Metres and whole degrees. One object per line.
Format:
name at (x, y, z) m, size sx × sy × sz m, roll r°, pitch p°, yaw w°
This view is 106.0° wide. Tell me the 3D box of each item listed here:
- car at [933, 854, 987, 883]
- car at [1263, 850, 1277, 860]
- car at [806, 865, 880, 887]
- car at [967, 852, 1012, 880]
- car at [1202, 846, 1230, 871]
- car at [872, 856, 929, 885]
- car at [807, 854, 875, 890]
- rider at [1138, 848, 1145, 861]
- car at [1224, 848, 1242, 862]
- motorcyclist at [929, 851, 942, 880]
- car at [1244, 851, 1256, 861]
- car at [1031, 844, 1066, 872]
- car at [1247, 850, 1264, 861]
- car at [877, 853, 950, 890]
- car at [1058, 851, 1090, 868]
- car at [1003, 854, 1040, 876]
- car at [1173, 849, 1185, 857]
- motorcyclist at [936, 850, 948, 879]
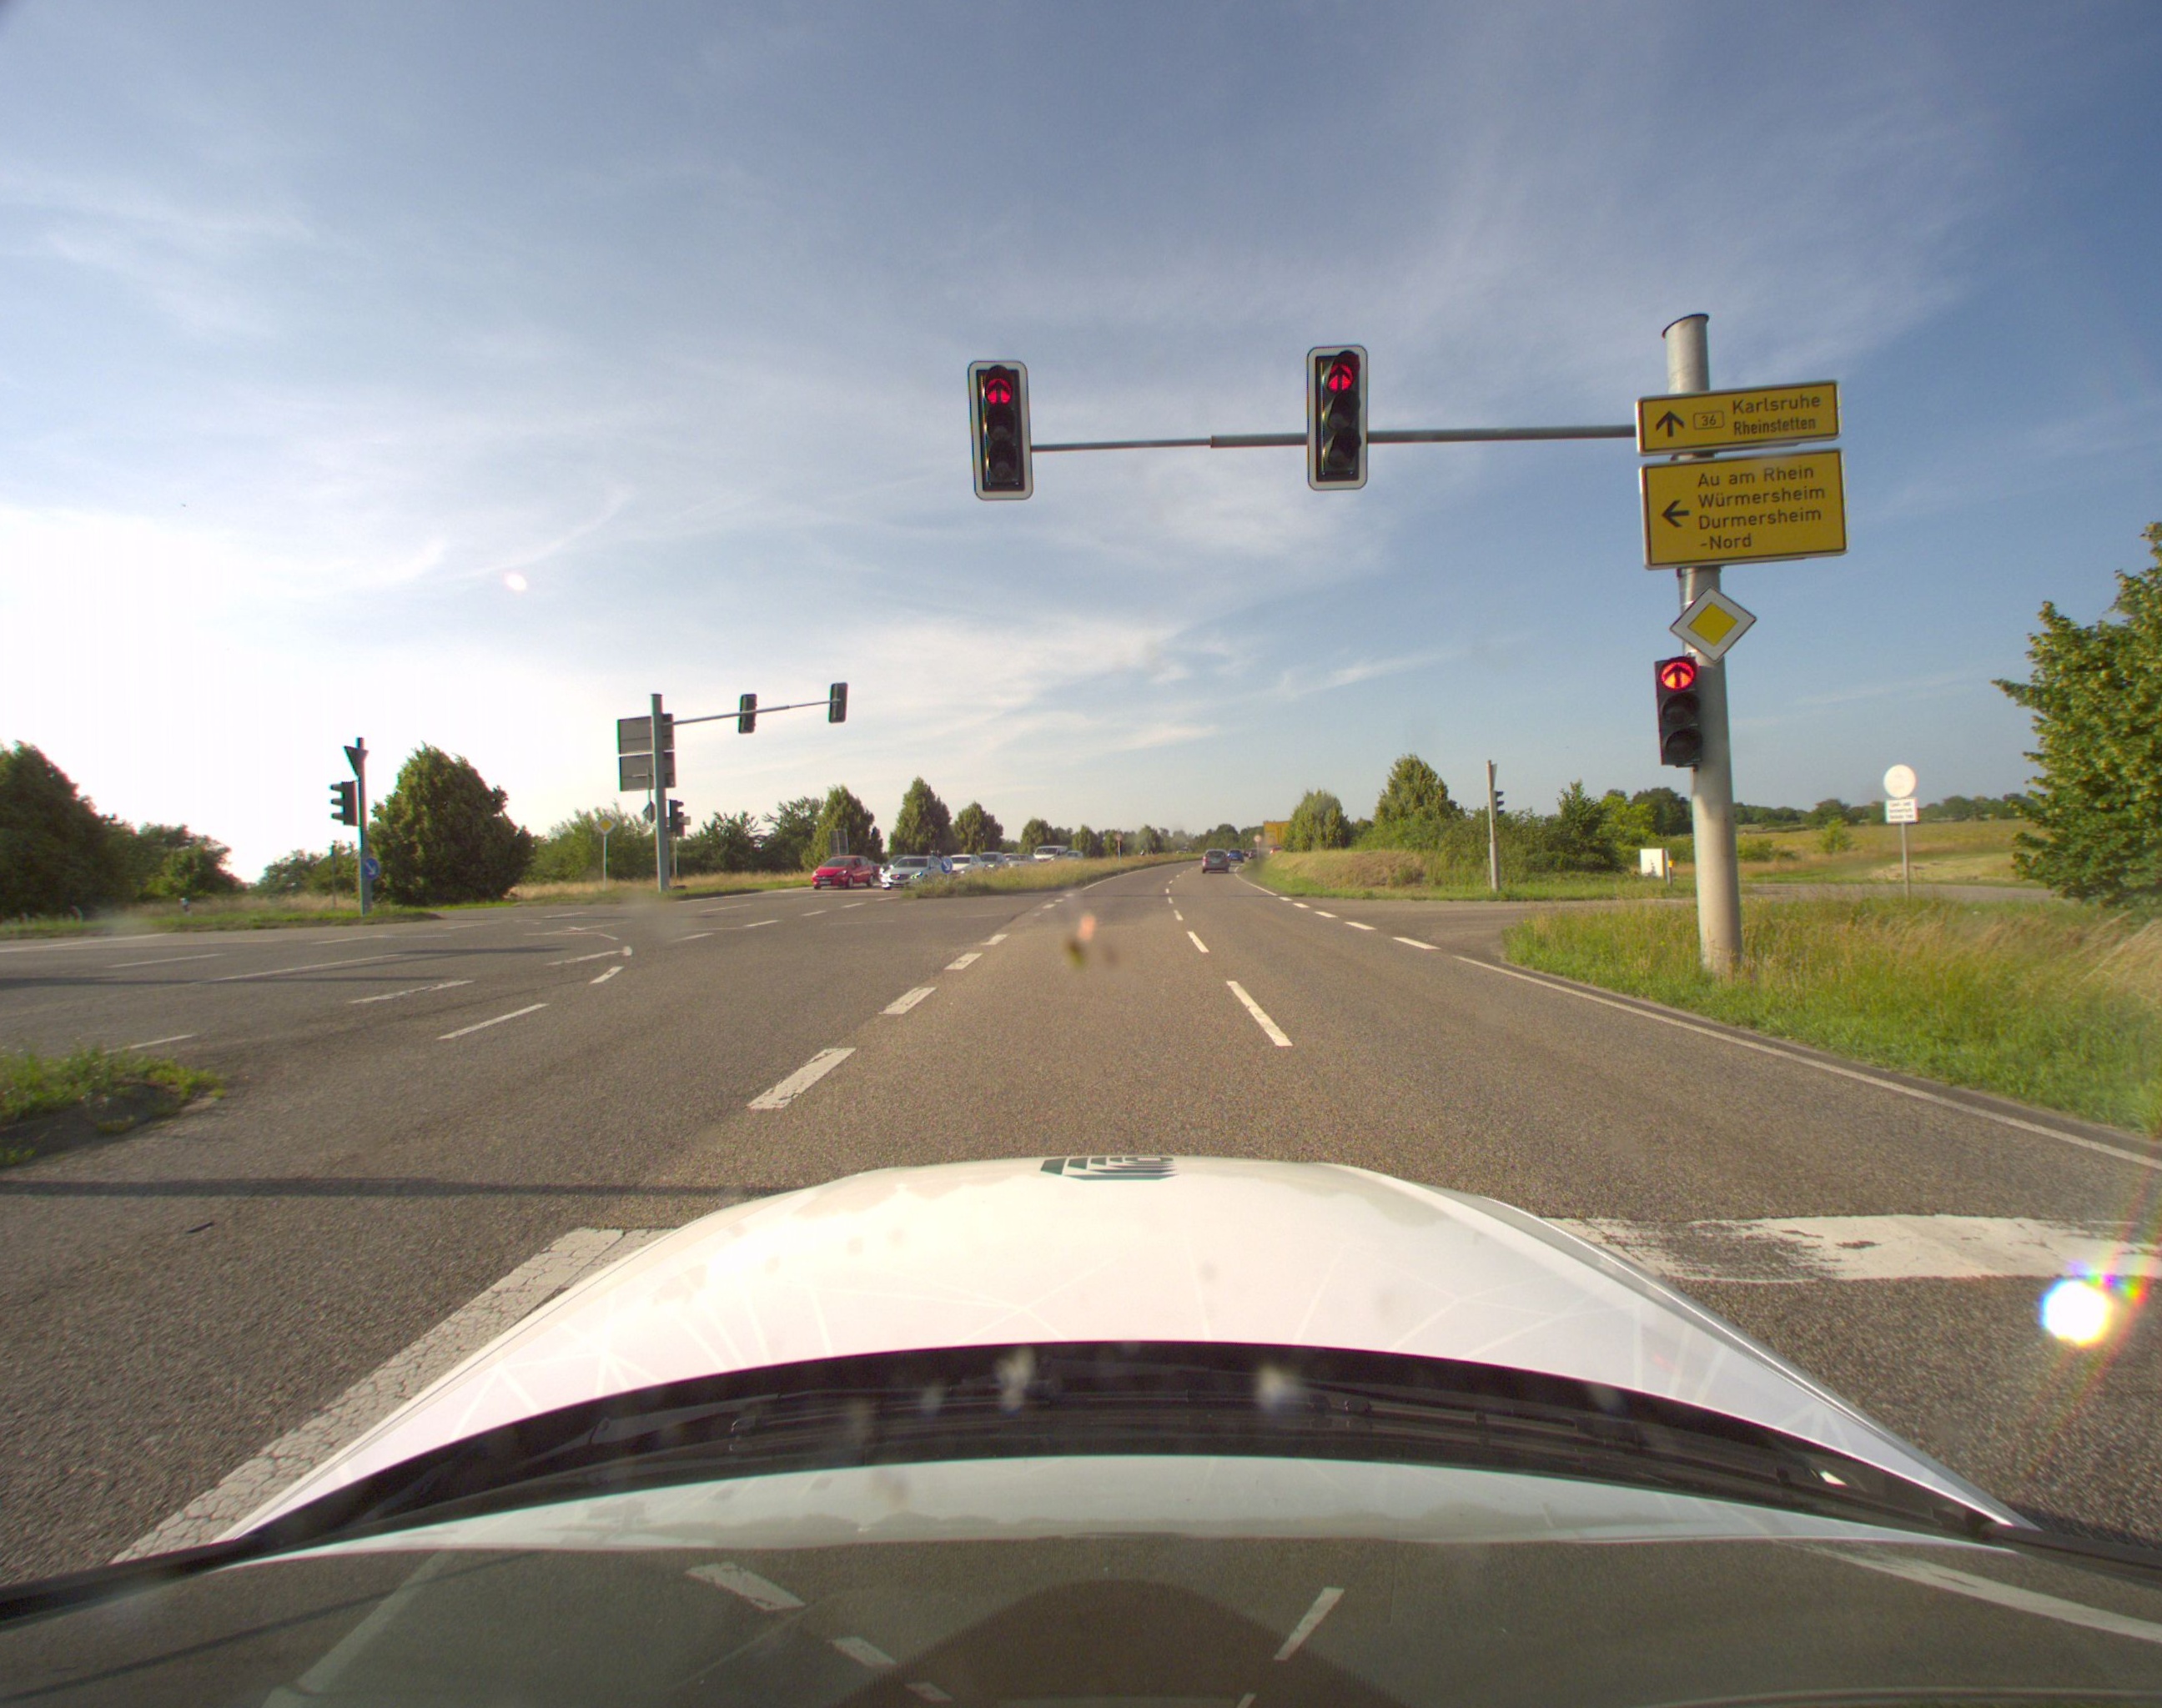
car at (-6.391, 0.737, 43.462) m, size 1.777 × 1.433 × 4.316 m, roll -2°, pitch 0°, yaw 6°
car at (30.674, 0.144, 132.073) m, size 1.880 × 1.565 × 4.297 m, roll -1°, pitch -1°, yaw 18°
car at (-13.563, 1.222, 46.731) m, size 1.979 × 1.101 × 4.495 m, roll -2°, pitch 0°, yaw 14°
car at (-5.534, 0.710, 49.743) m, size 1.777 × 1.568 × 4.058 m, roll -2°, pitch 0°, yaw 6°
car at (9.229, 0.345, 55.562) m, size 1.773 × 1.605 × 4.207 m, roll -1°, pitch -1°, yaw 10°
car at (-9.798, 0.848, 44.500) m, size 1.777 × 1.433 × 4.058 m, roll -2°, pitch 0°, yaw 6°
car at (-10.908, 0.786, 37.323) m, size 1.713 × 1.488 × 3.808 m, roll -2°, pitch 0°, yaw 4°
rider at (9.038, 0.094, 121.801) m, size 0.861 × 2.013 × 0.775 m, roll -2°, pitch 0°, yaw 17°
car at (16.591, 0.117, 88.720) m, size 1.760 × 1.492 × 3.999 m, roll -1°, pitch 0°, yaw 13°
motorcyclist at (-8.870, 0.707, 49.572) m, size 0.660 × 1.747 × 0.605 m, roll -2°, pitch 0°, yaw -1°
car at (26.614, 0.332, 128.311) m, size 1.760 × 1.492 × 3.999 m, roll -1°, pitch 0°, yaw 13°
car at (-2.555, 0.321, 65.220) m, size 1.913 × 2.078 × 4.255 m, roll -2°, pitch 0°, yaw 10°
car at (23.425, 0.250, 109.281) m, size 1.900 × 1.416 × 3.811 m, roll -1°, pitch -1°, yaw 15°
car at (-7.261, 0.727, 35.814) m, size 1.777 × 1.488 × 4.659 m, roll -2°, pitch 0°, yaw 6°
car at (-0.567, 0.500, 73.781) m, size 1.772 × 1.385 × 4.068 m, roll -2°, pitch 0°, yaw 15°
car at (-4.020, 0.739, 55.857) m, size 1.777 × 1.385 × 4.058 m, roll -2°, pitch 0°, yaw 6°
car at (17.014, -0.168, 140.906) m, size 1.394 × 1.402 × 3.438 m, roll -2°, pitch 0°, yaw 18°
motorcyclist at (-8.967, 0.685, 52.601) m, size 0.660 × 1.817 × 0.605 m, roll -2°, pitch 0°, yaw -1°
